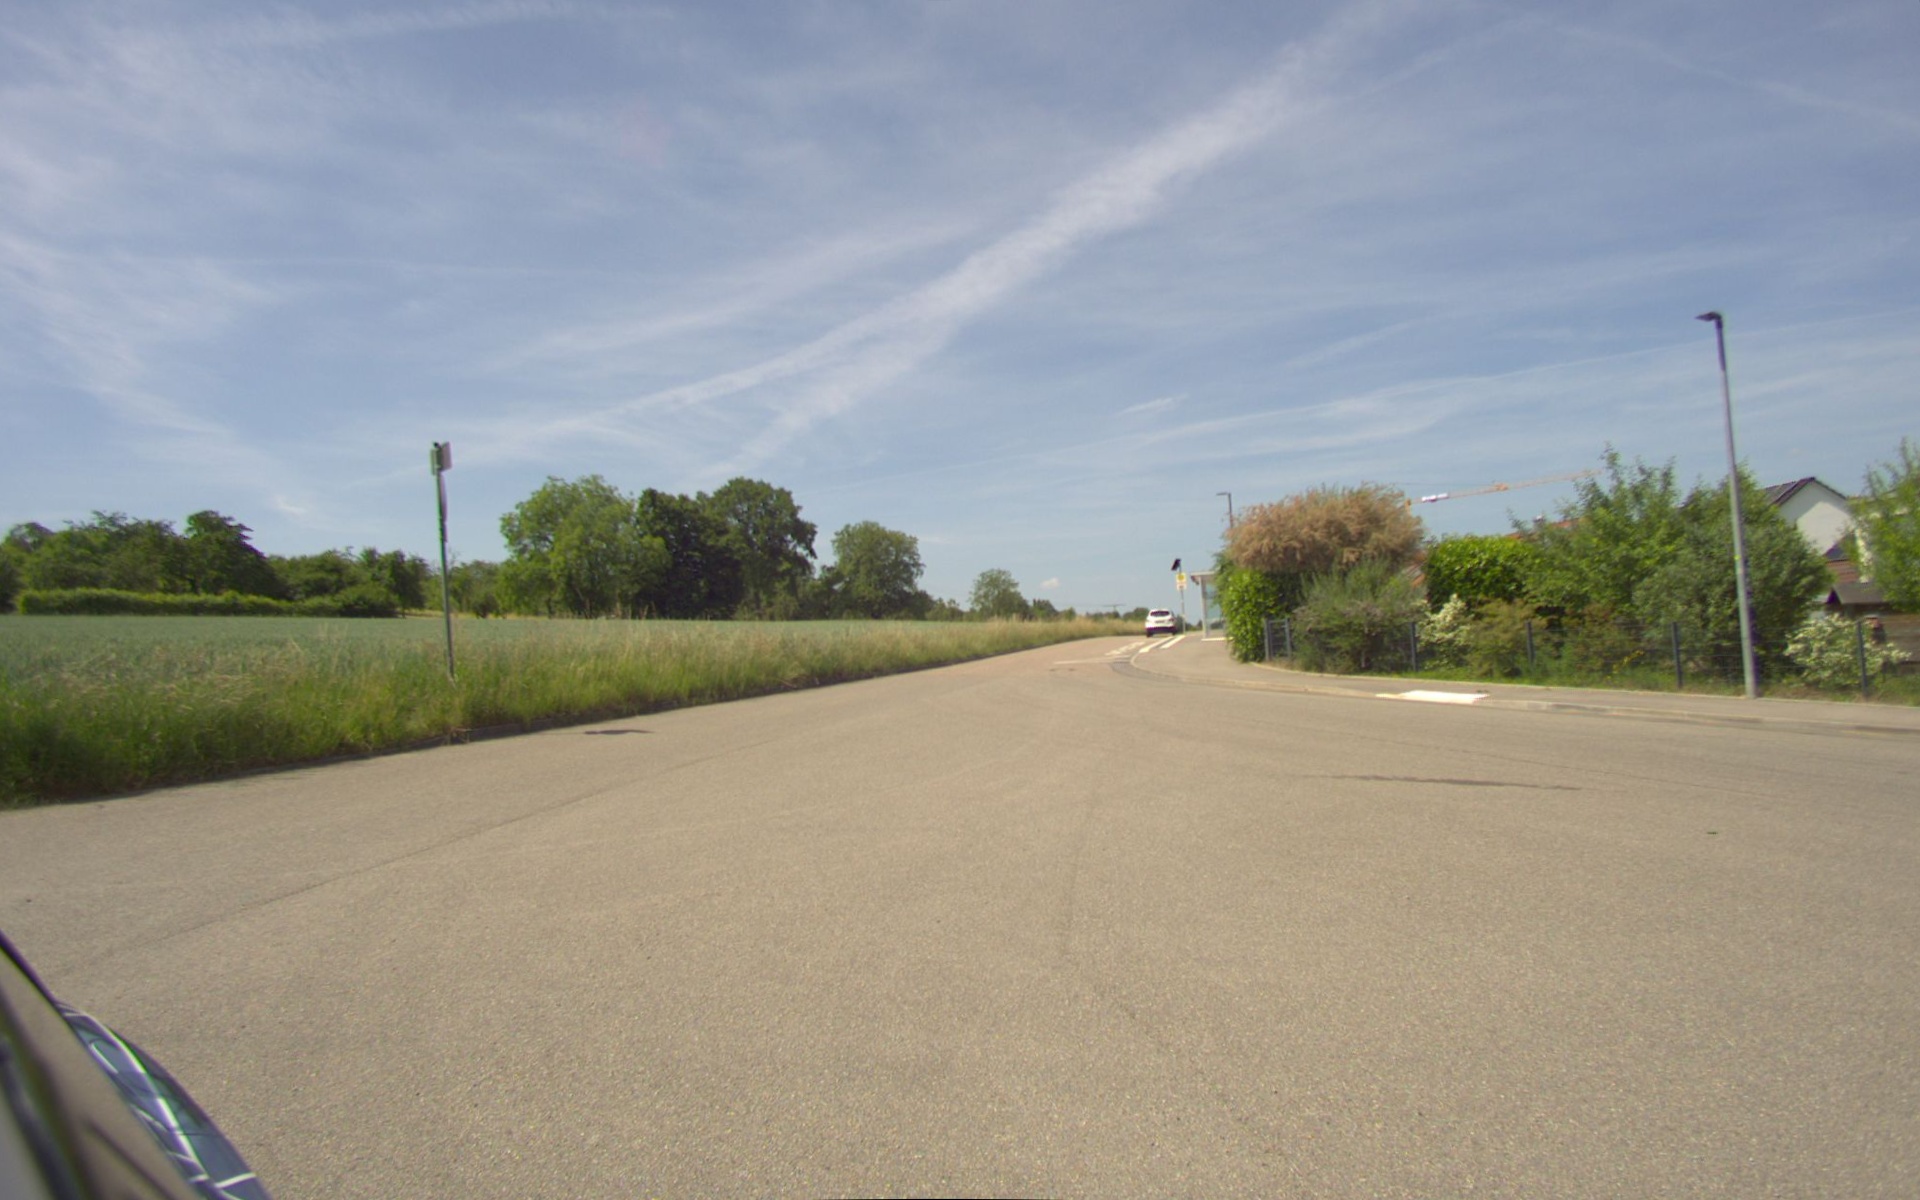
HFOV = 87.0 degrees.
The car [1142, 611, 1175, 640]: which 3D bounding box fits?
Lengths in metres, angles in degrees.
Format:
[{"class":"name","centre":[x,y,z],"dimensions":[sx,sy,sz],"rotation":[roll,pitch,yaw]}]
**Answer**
[{"class":"car","centre":[12.058,1.525,61.323],"dimensions":[1.723,1.645,4.332],"rotation":[-3,-2,14]}]
